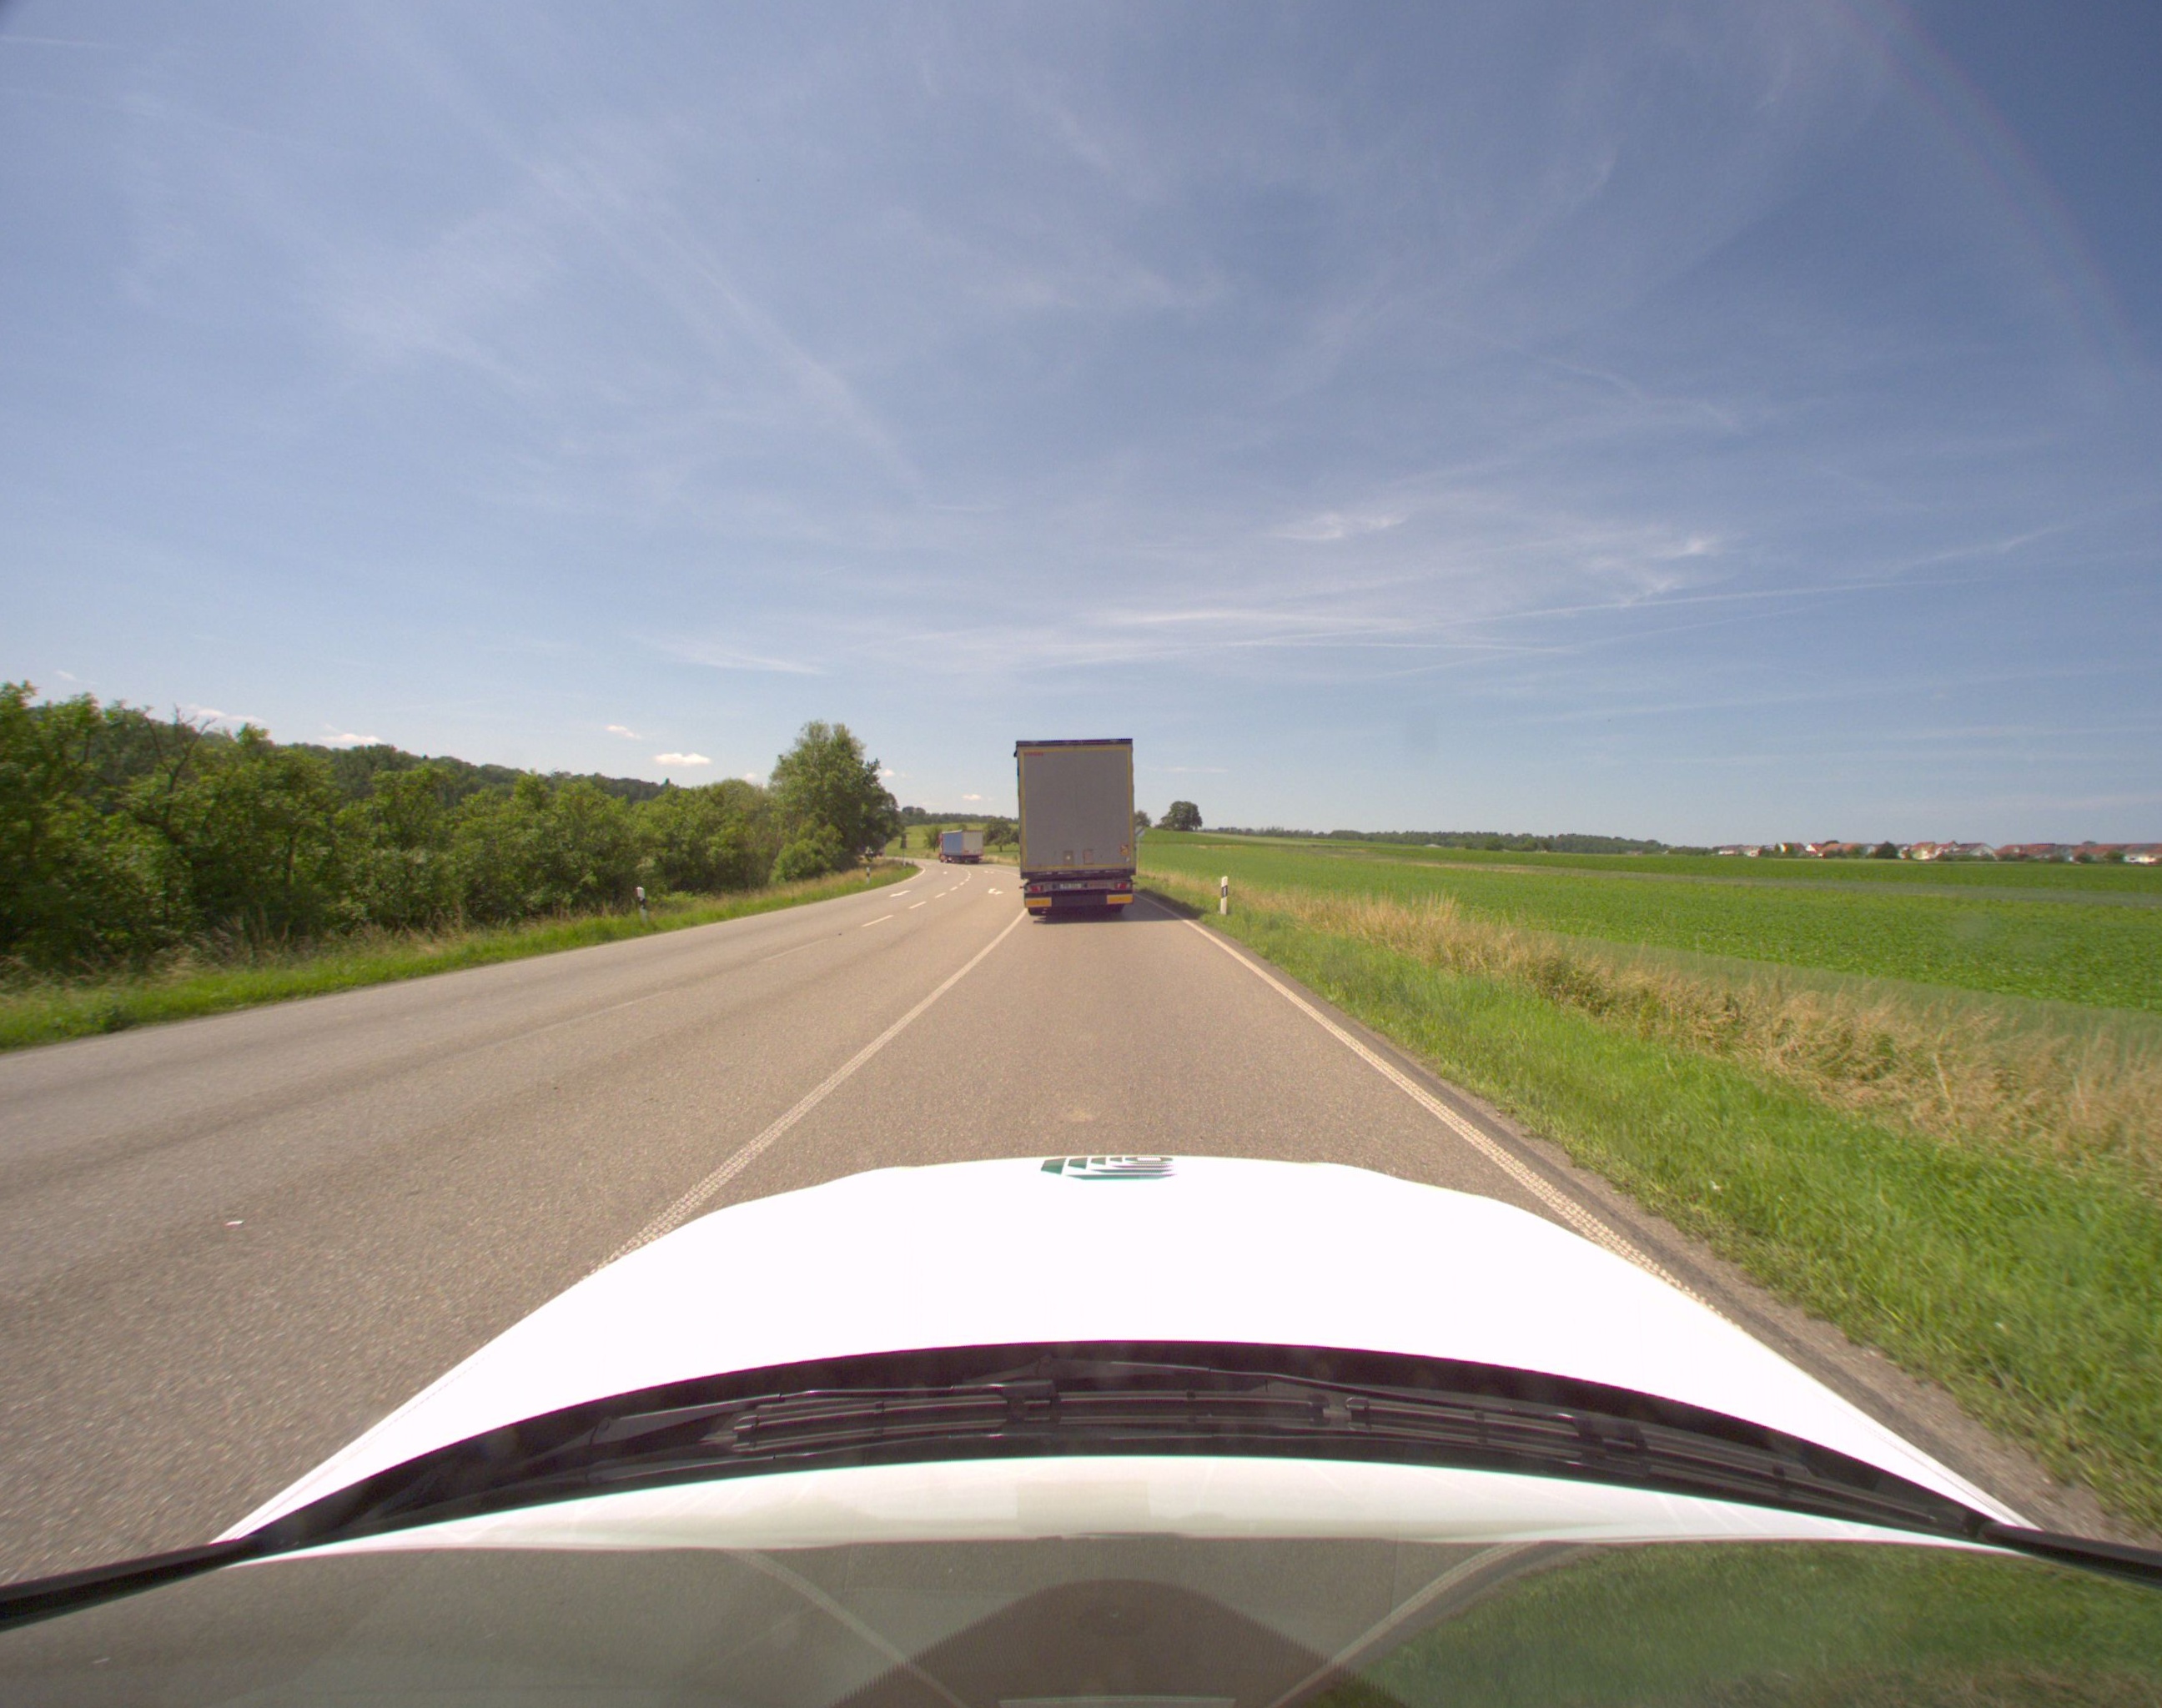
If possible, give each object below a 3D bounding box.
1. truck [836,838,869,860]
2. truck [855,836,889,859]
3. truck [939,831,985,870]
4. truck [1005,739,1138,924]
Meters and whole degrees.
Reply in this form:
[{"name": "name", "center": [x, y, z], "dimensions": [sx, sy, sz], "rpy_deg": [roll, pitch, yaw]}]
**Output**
[{"name": "truck", "center": [-49.017, -0.955, 174.425], "dimensions": [3.551, 4.241, 13.275], "rpy_deg": [2, -2, -30]}, {"name": "truck", "center": [-41.228, -1.224, 160.350], "dimensions": [3.657, 4.130, 12.980], "rpy_deg": [2, -2, -27]}, {"name": "truck", "center": [-15.314, -0.290, 103.073], "dimensions": [2.969, 4.584, 16.212], "rpy_deg": [1, -1, -18]}, {"name": "truck", "center": [-0.363, -0.495, 22.444], "dimensions": [2.801, 3.946, 9.583], "rpy_deg": [-1, 0, -2]}]
